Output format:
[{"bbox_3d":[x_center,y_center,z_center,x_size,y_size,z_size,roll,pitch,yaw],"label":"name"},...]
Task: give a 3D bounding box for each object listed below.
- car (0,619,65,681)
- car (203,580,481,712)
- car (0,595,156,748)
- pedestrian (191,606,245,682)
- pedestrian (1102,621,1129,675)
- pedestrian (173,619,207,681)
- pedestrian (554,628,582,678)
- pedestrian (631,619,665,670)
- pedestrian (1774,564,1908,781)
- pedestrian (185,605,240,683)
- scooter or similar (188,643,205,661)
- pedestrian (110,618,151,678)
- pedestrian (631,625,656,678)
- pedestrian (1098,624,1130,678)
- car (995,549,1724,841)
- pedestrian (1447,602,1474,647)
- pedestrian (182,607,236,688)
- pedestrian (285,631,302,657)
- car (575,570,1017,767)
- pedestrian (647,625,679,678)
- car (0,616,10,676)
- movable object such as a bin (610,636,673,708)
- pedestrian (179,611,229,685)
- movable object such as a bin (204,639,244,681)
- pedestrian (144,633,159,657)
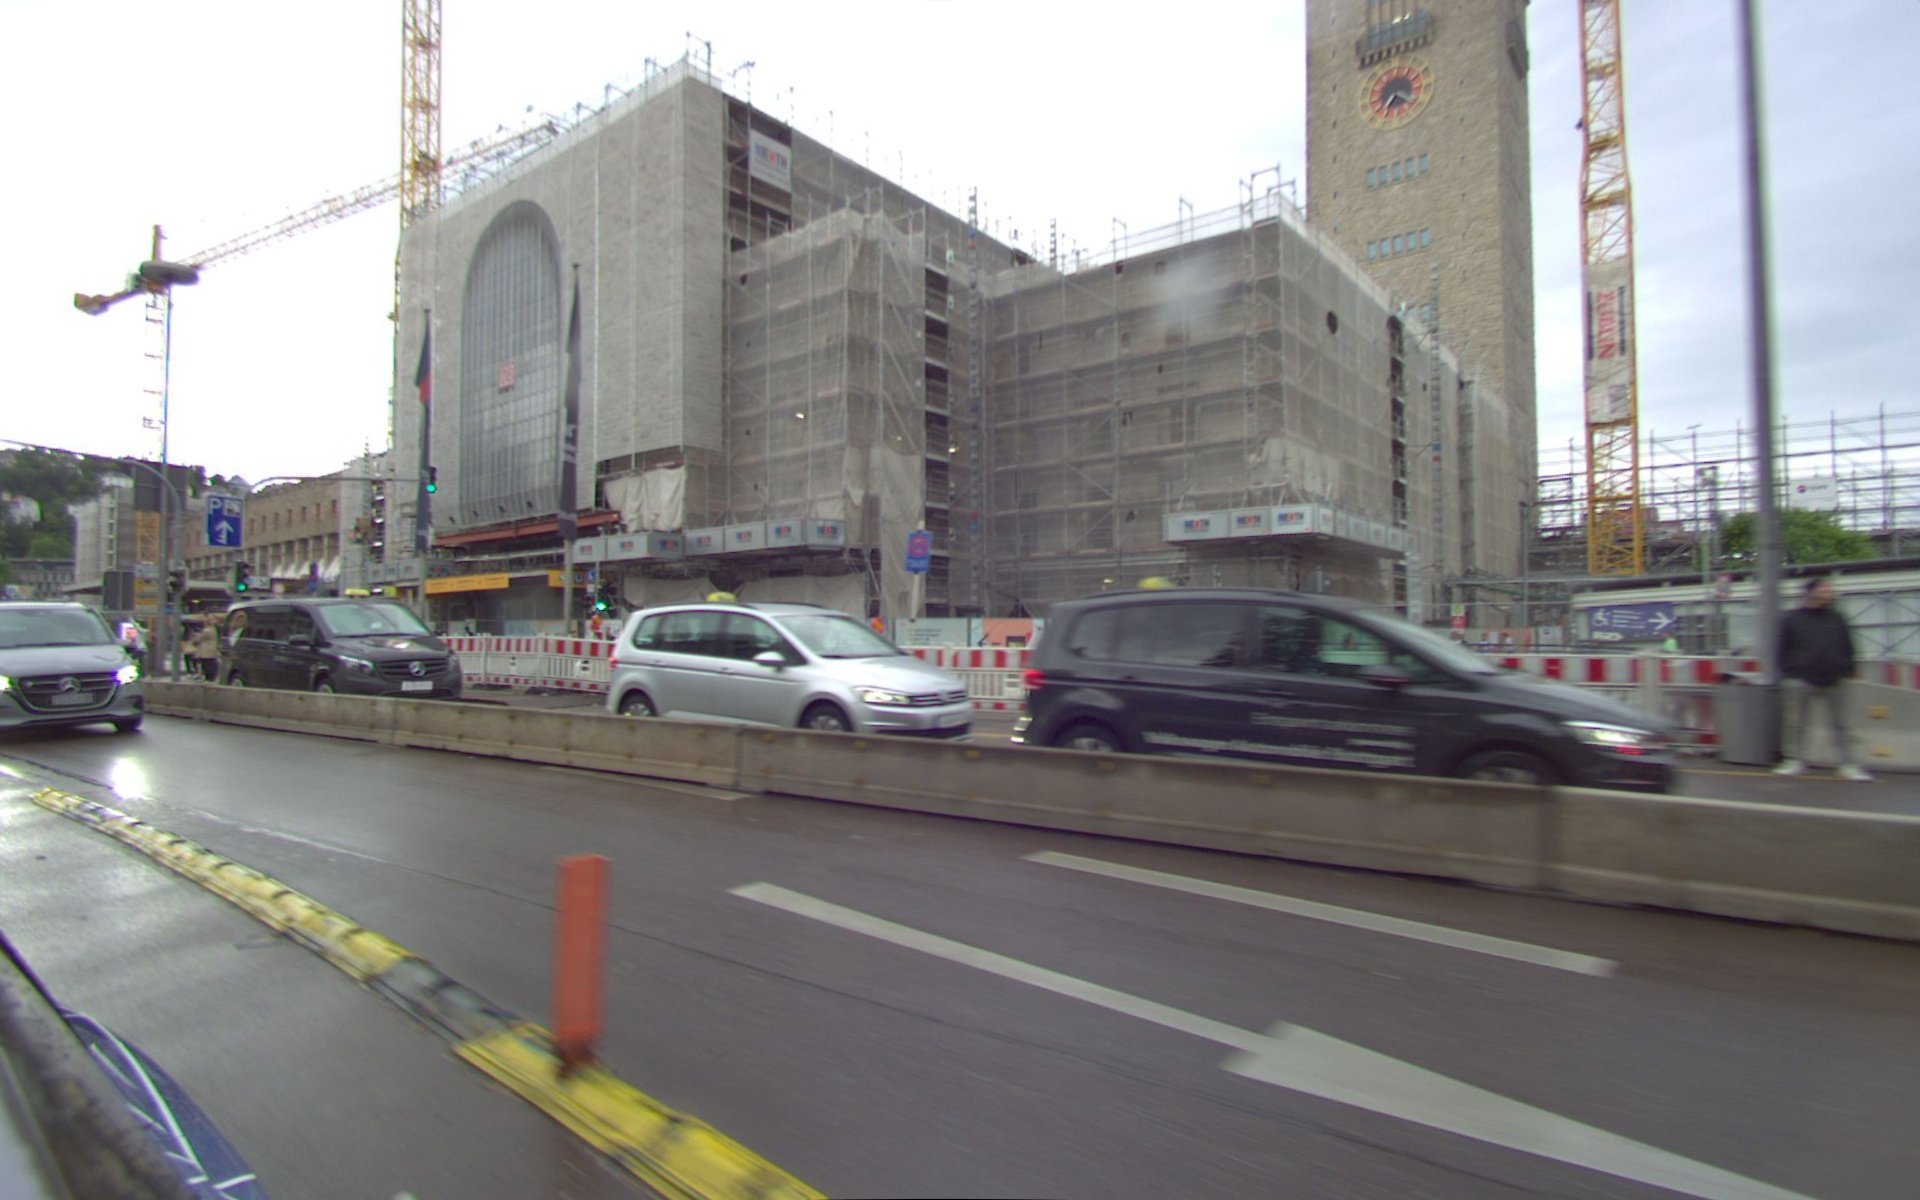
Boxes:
[{"bbox_3d":[-27.970,1.430,29.676,4.660,1.698,1.769,-2,-3,38],"label":"car"},{"bbox_3d":[-10.143,0.682,16.474,5.049,1.859,1.977,-1,-1,34],"label":"car"},{"bbox_3d":[-13.777,0.948,14.745,5.241,1.919,1.975,-2,-1,37],"label":"car"},{"bbox_3d":[-18.934,1.124,25.842,0.990,1.901,0.819,1,-2,-30],"label":"pedestrian"},{"bbox_3d":[5.670,1.741,36.850,0.829,1.896,1.022,0,-2,17],"label":"pedestrian"},{"bbox_3d":[-22.083,1.434,29.026,0.755,1.748,0.577,-2,-3,38],"label":"pedestrian"},{"bbox_3d":[-14.669,1.981,37.873,0.638,1.855,0.767,-1,-2,31],"label":"pedestrian"},{"bbox_3d":[-11.468,1.631,37.148,0.970,1.855,1.044,1,-2,-31],"label":"pedestrian"},{"bbox_3d":[7.601,0.594,8.760,0.822,1.766,0.628,-1,-1,41],"label":"pedestrian"},{"bbox_3d":[-18.578,1.095,25.165,0.990,1.901,0.685,1,-2,-30],"label":"pedestrian"},{"bbox_3d":[-48.612,3.318,64.472,0.452,1.074,1.243,0,-2,-17],"label":"scooter or similar"},{"bbox_3d":[-23.647,1.355,28.864,0.835,1.677,0.706,-2,-3,38],"label":"pedestrian"},{"bbox_3d":[-11.287,1.837,36.103,0.527,1.855,0.691,-2,-3,36],"label":"pedestrian"},{"bbox_3d":[5.458,1.793,35.782,0.832,1.896,1.018,0,-2,28],"label":"pedestrian"},{"bbox_3d":[2.621,0.527,7.300,4.479,1.522,1.808,-1,-1,34],"label":"car"},{"bbox_3d":[21.361,1.052,43.186,0.648,1.896,0.807,2,-2,-23],"label":"pedestrian"},{"bbox_3d":[-18.089,1.122,24.370,1.027,1.896,0.825,-2,-2,40],"label":"pedestrian"},{"bbox_3d":[-41.800,2.760,63.493,0.838,1.626,0.669,-2,-2,41],"label":"pedestrian"},{"bbox_3d":[-1.893,0.628,10.863,4.762,1.709,1.808,-1,-1,34],"label":"car"},{"bbox_3d":[-10.548,1.817,35.908,0.876,1.855,0.691,-1,-1,36],"label":"pedestrian"},{"bbox_3d":[-32.855,1.490,33.228,4.603,1.906,1.697,-2,-3,38],"label":"car"},{"bbox_3d":[-5.429,1.210,17.239,0.764,1.170,0.665,-1,0,31],"label":"movable object such as a bin"},{"bbox_3d":[-19.889,1.252,26.639,0.688,1.901,0.825,-1,-2,28],"label":"pedestrian"},{"bbox_3d":[-19.171,1.555,26.377,0.732,1.084,0.751,1,-2,-30],"label":"movable object such as a bin"},{"bbox_3d":[-68.456,3.789,85.717,0.862,1.954,0.736,-2,0,35],"label":"pedestrian"}]
